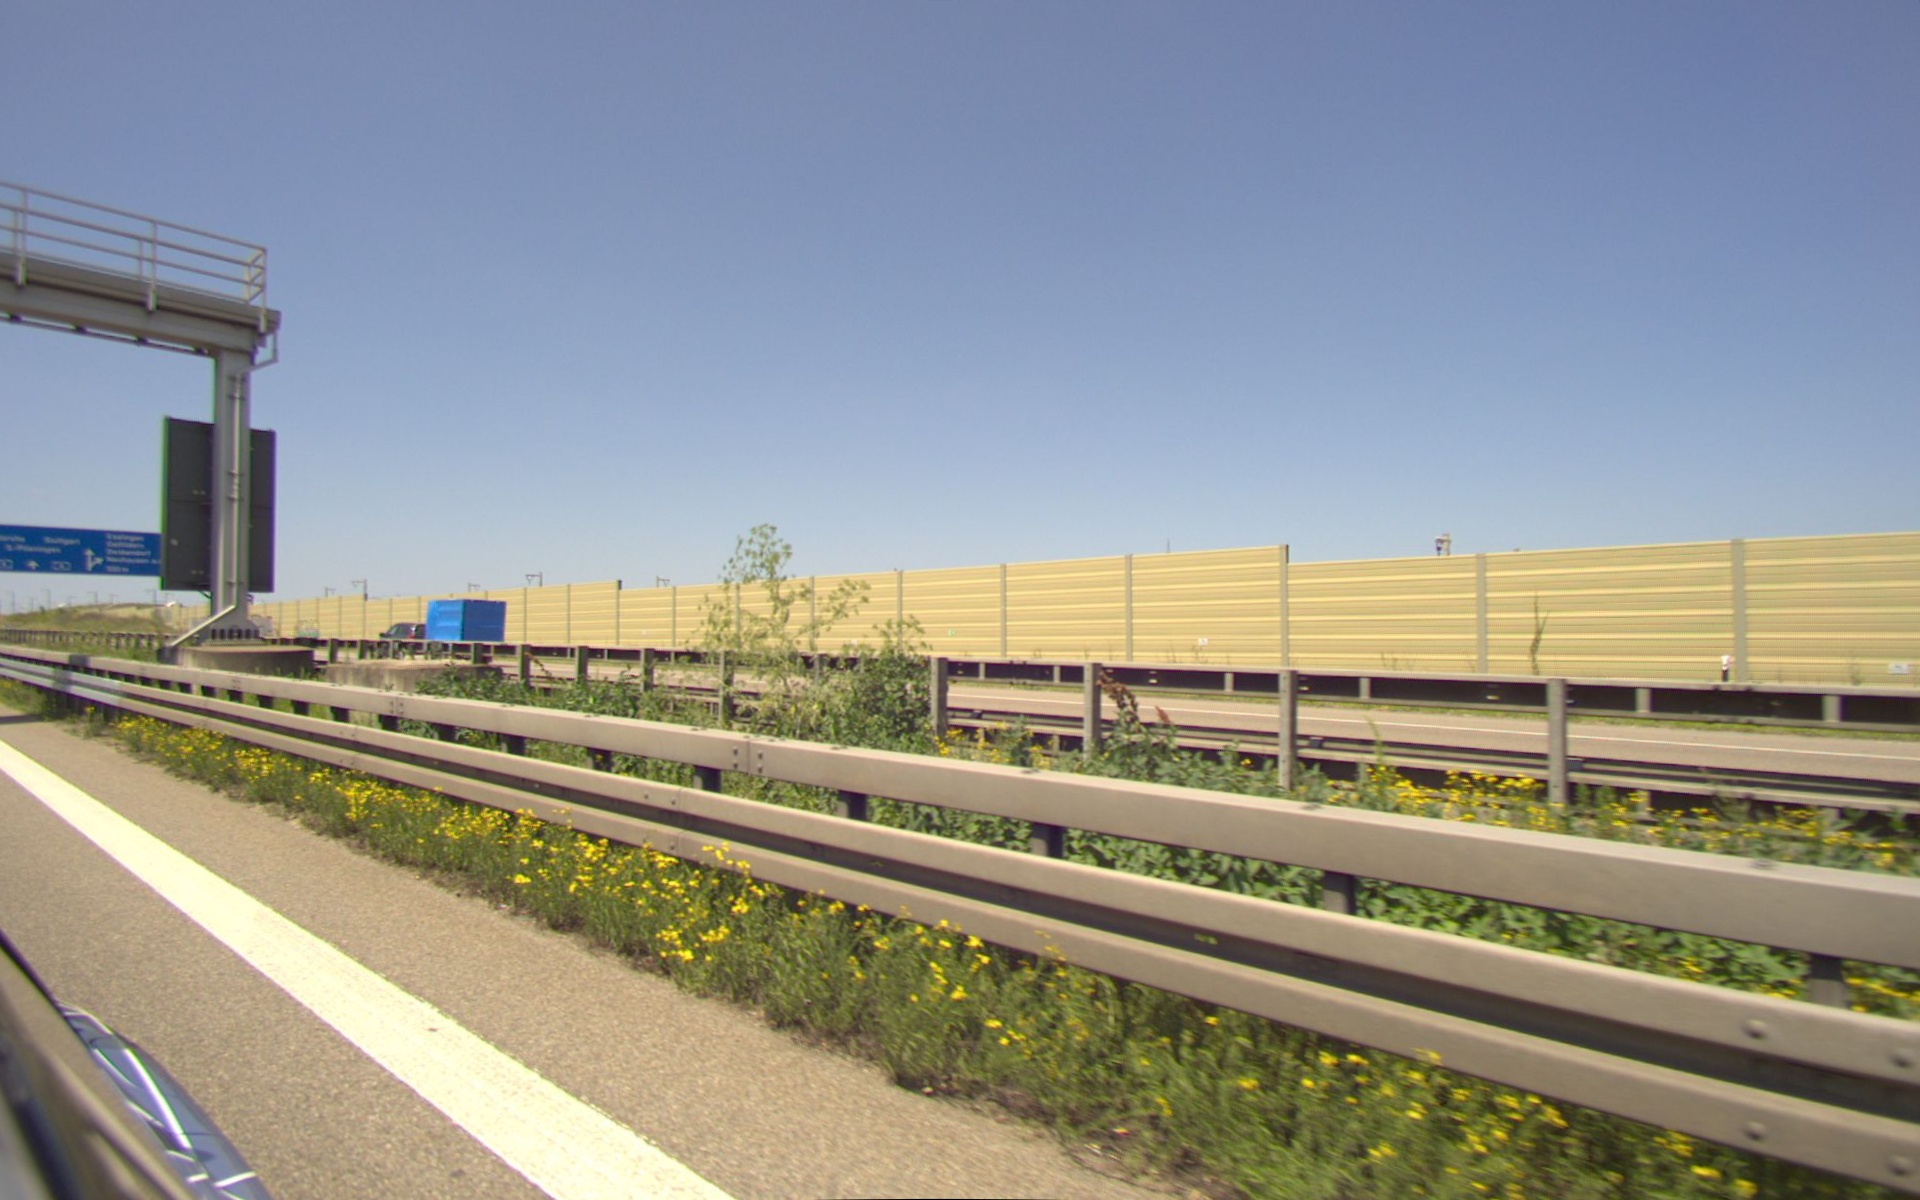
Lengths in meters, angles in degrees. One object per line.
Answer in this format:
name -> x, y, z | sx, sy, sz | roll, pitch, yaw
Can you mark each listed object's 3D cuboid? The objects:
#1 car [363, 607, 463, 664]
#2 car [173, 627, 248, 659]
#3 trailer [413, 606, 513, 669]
car -> -22.977, 1.458, 42.413 | 5.094, 2.242, 1.973 | -1, 0, 40
car -> -36.745, 2.091, 49.570 | 4.720, 1.442, 1.873 | -1, -4, 40
trailer -> -19.376, 1.409, 39.402 | 4.201, 2.255, 1.973 | -1, 0, 40
